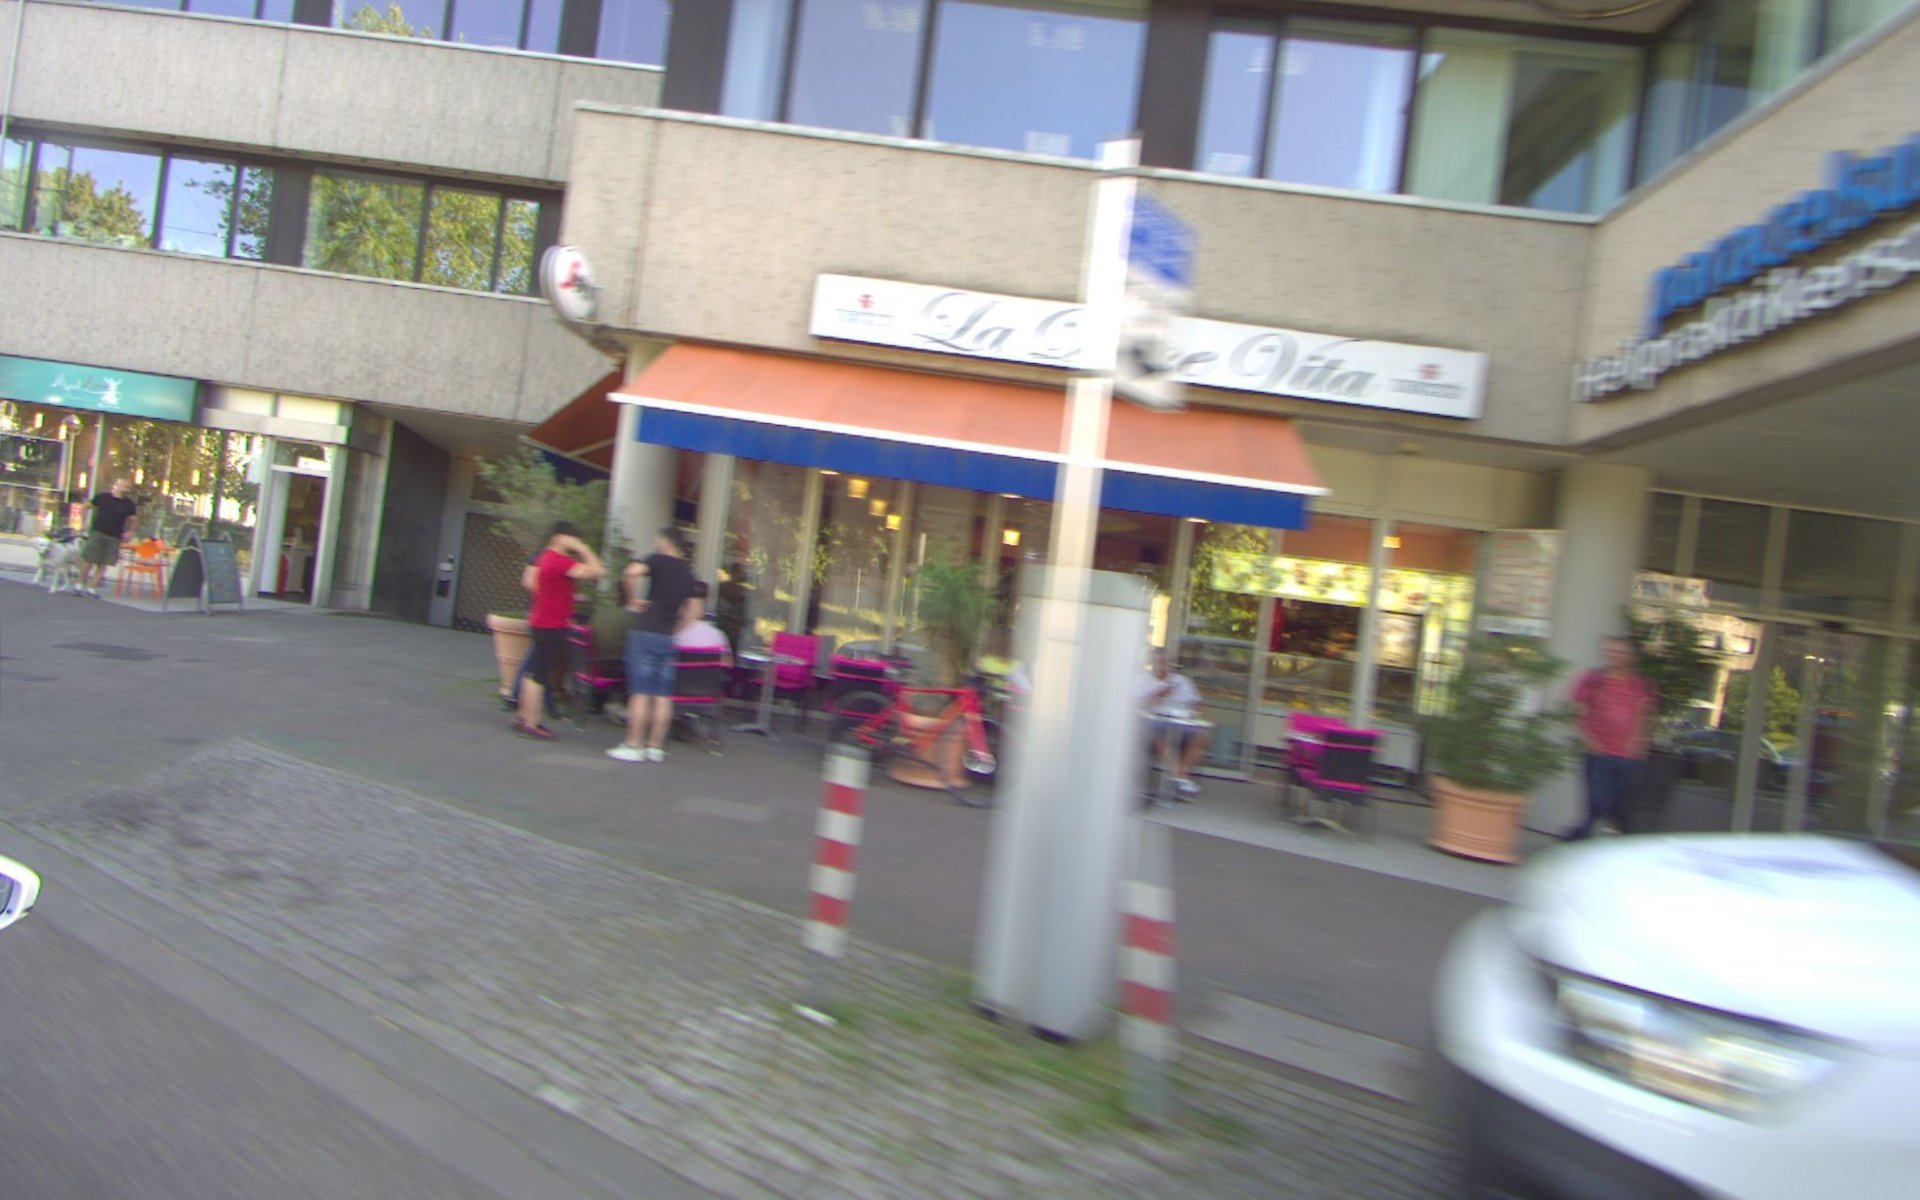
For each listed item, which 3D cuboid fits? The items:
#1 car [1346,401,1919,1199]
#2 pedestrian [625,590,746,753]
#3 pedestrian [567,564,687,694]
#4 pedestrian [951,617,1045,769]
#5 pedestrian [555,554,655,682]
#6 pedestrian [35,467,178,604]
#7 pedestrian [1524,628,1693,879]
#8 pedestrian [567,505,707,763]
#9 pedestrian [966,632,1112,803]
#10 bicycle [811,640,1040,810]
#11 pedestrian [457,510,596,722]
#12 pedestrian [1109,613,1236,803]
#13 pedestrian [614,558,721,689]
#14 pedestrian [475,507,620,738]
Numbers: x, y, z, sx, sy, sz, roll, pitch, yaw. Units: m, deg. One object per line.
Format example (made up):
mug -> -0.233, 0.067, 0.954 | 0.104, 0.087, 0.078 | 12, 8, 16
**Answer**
car -> 3.016, 0.862, 1.580 | 4.235, 1.833, 1.999 | 6, -3, 29
pedestrian -> -2.285, 0.584, 8.387 | 0.614, 1.252, 0.630 | 6, 1, 32
pedestrian -> -3.676, 0.318, 11.153 | 0.815, 1.308, 0.844 | 6, 1, 17
pedestrian -> 0.340, 0.846, 9.342 | 0.669, 1.261, 0.763 | 8, -2, 0
pedestrian -> -4.350, 0.233, 12.398 | 0.739, 1.418, 0.844 | 8, -2, -1
pedestrian -> -12.311, -0.918, 14.529 | 1.005, 1.762, 1.135 | 6, -2, 31
pedestrian -> 5.148, 1.189, 8.023 | 0.693, 1.836, 0.717 | 7, -2, -4
pedestrian -> -2.501, 0.252, 7.807 | 0.600, 1.880, 0.671 | 6, 1, 32
pedestrian -> 0.646, 0.935, 8.132 | 0.829, 1.211, 0.664 | 7, -2, 29
bicycle -> -0.285, 0.936, 7.820 | 1.616, 1.046, 0.564 | 6, -2, 30
pedestrian -> -3.861, 0.138, 9.021 | 0.706, 1.732, 0.843 | 7, 1, 1
pedestrian -> 1.972, 0.984, 9.292 | 0.829, 1.573, 0.664 | 7, -2, 26
pedestrian -> -3.486, 0.288, 12.070 | 0.815, 1.419, 0.844 | 8, -1, 4
pedestrian -> -3.287, 0.182, 8.029 | 0.686, 1.734, 0.585 | 6, -2, 32
